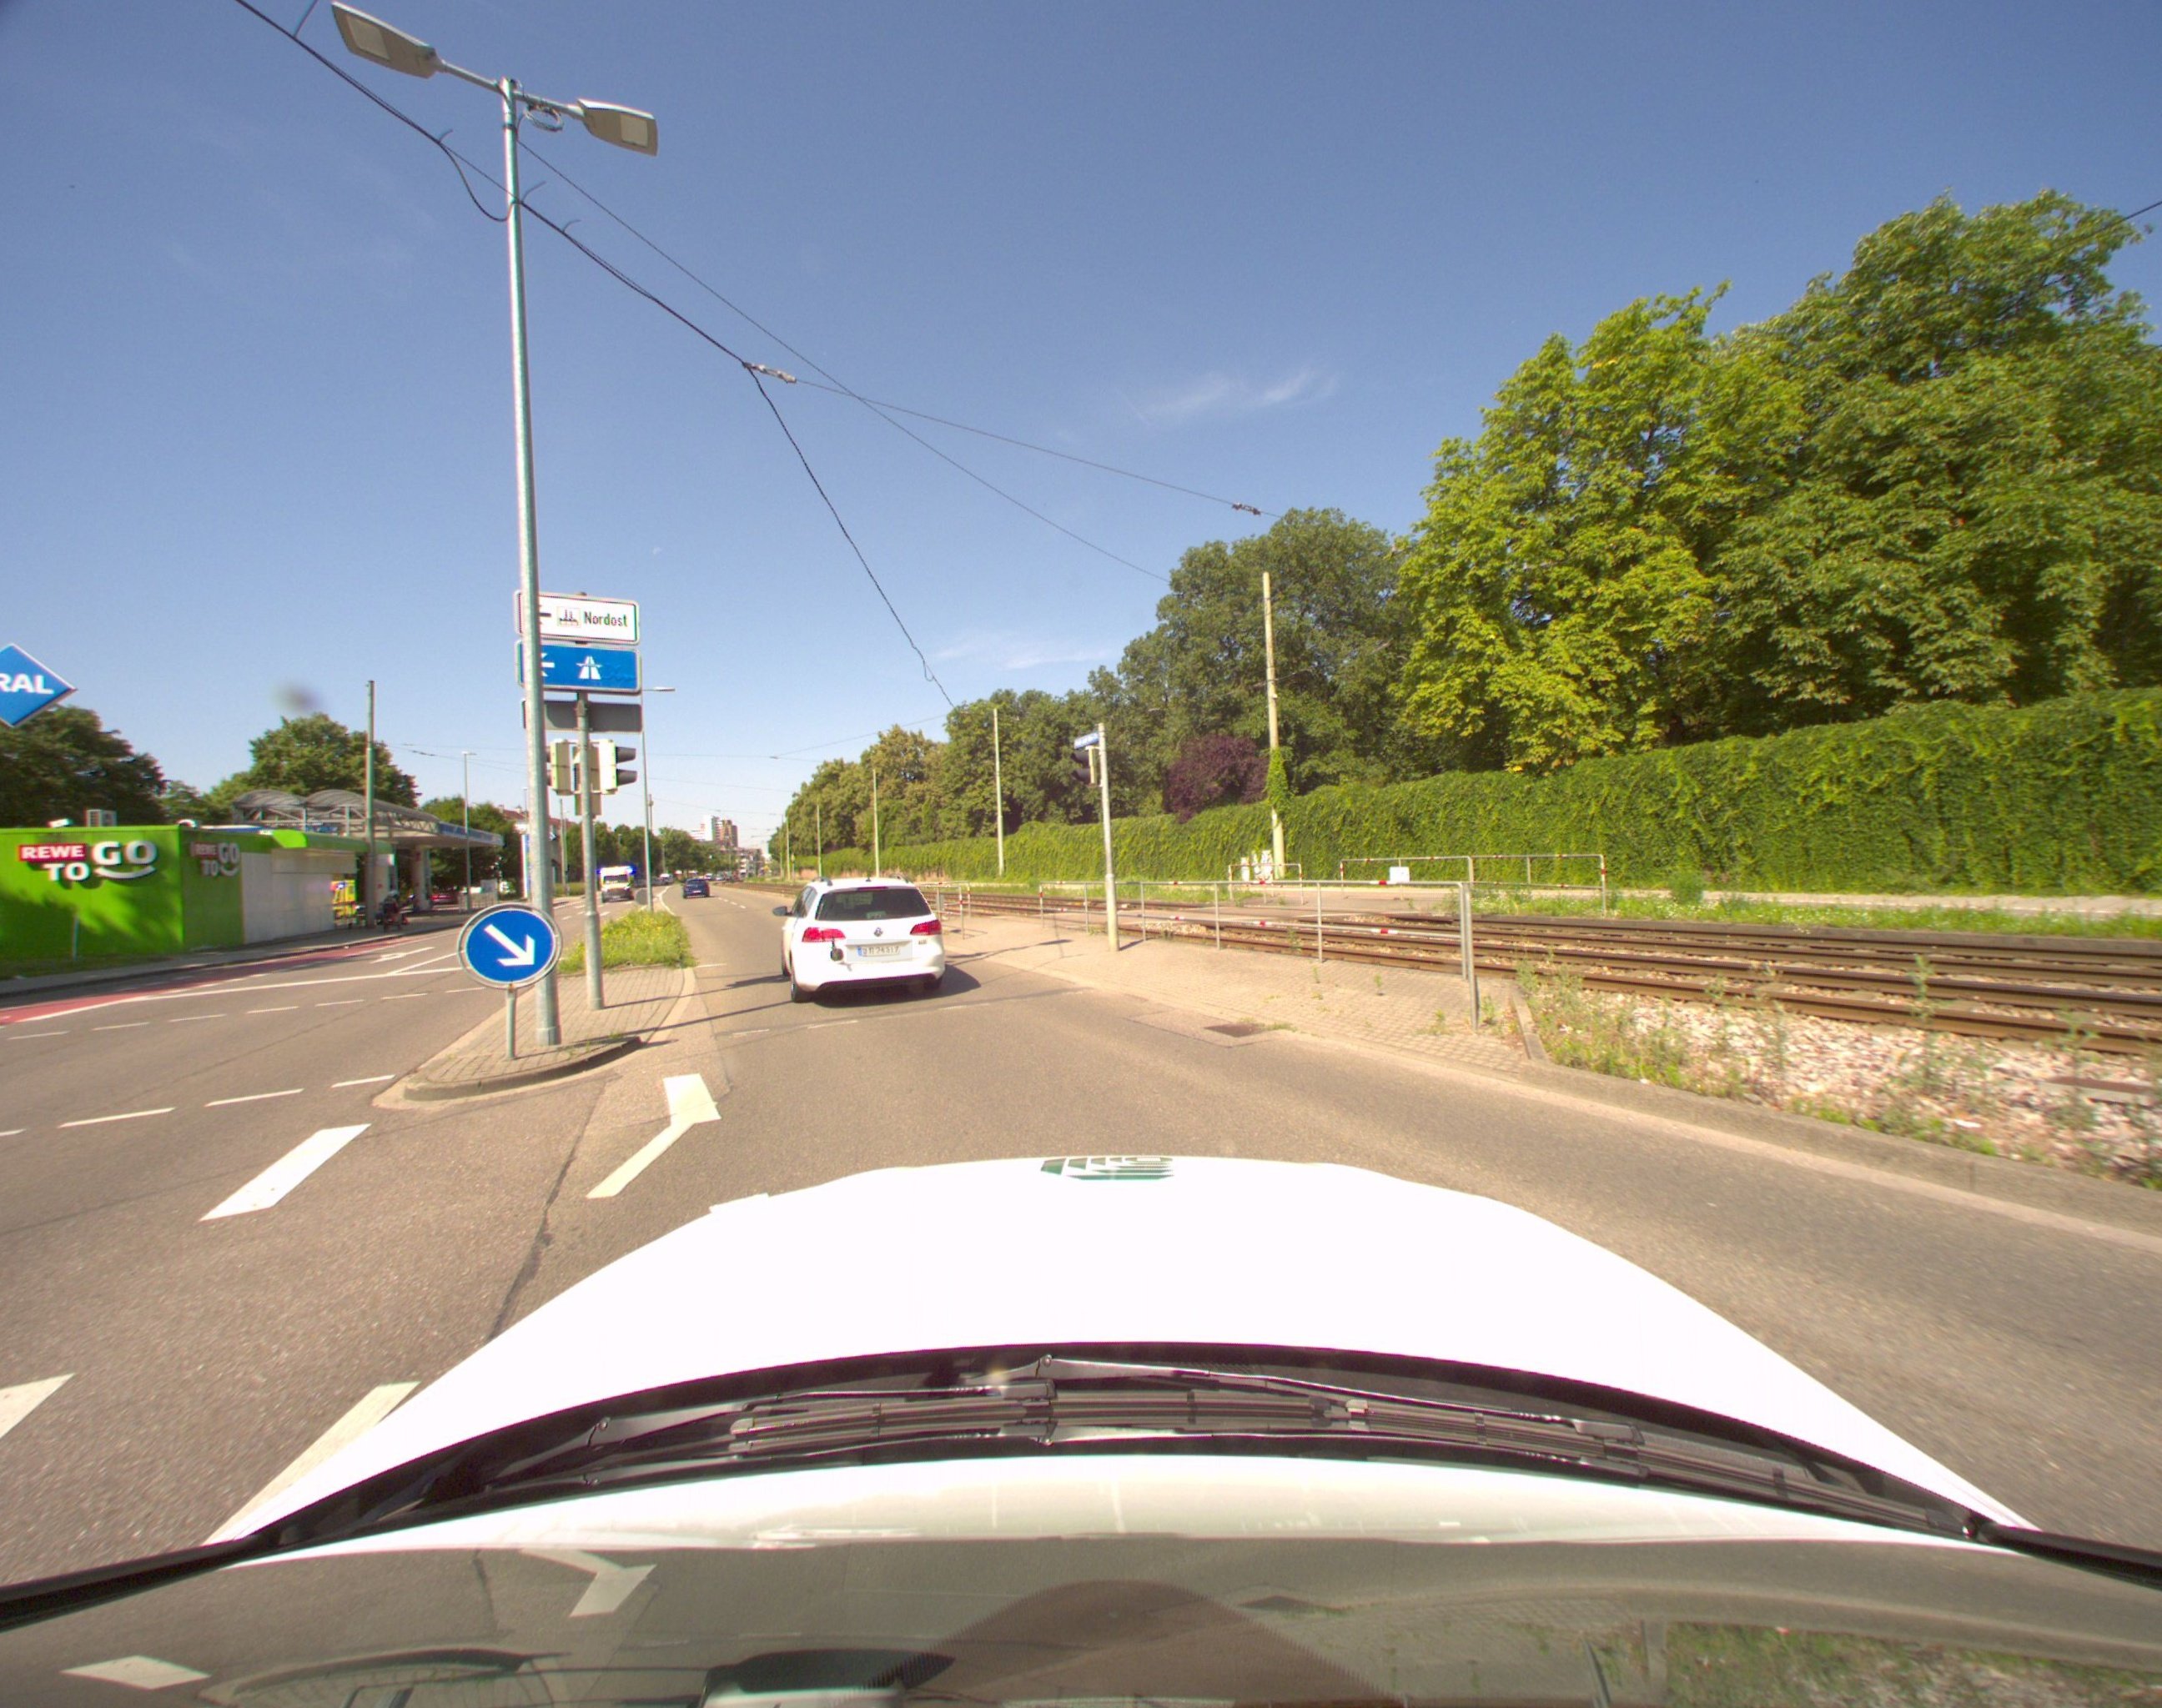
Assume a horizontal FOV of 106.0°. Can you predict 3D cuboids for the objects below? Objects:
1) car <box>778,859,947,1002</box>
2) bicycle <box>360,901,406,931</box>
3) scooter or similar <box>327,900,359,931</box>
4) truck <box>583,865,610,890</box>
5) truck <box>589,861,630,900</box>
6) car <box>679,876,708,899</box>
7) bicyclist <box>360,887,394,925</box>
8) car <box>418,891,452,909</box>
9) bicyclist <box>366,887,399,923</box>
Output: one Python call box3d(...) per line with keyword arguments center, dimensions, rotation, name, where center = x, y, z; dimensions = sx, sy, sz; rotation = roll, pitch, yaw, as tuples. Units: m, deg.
box3d(center=(-3.135, 0.879, 10.996), dimensions=(1.698, 1.451, 4.426), rotation=(-2, -1, -21), name="car")
box3d(center=(-29.112, 2.567, 33.991), dimensions=(0.830, 1.094, 2.747), rotation=(-3, 0, -28), name="bicycle")
box3d(center=(-32.129, 2.683, 35.466), dimensions=(0.442, 1.237, 1.337), rotation=(-3, 0, -18), name="scooter or similar")
box3d(center=(-71.883, 3.530, 120.943), dimensions=(2.681, 3.530, 8.514), rotation=(-1, -1, -27), name="truck")
box3d(center=(-36.744, 2.048, 63.624), dimensions=(2.344, 2.668, 7.292), rotation=(-4, 0, -28), name="truck")
box3d(center=(-28.330, 2.409, 59.545), dimensions=(1.810, 1.507, 3.966), rotation=(-2, 0, -26), name="car")
box3d(center=(-28.770, 2.112, 33.289), dimensions=(0.852, 1.435, 0.825), rotation=(-2, 0, -29), name="bicyclist")
box3d(center=(-66.612, 4.722, 84.005), dimensions=(1.810, 1.570, 4.477), rotation=(-3, 1, -27), name="car")
box3d(center=(-29.160, 2.133, 34.011), dimensions=(0.852, 1.436, 0.824), rotation=(-2, -1, -31), name="bicyclist")
